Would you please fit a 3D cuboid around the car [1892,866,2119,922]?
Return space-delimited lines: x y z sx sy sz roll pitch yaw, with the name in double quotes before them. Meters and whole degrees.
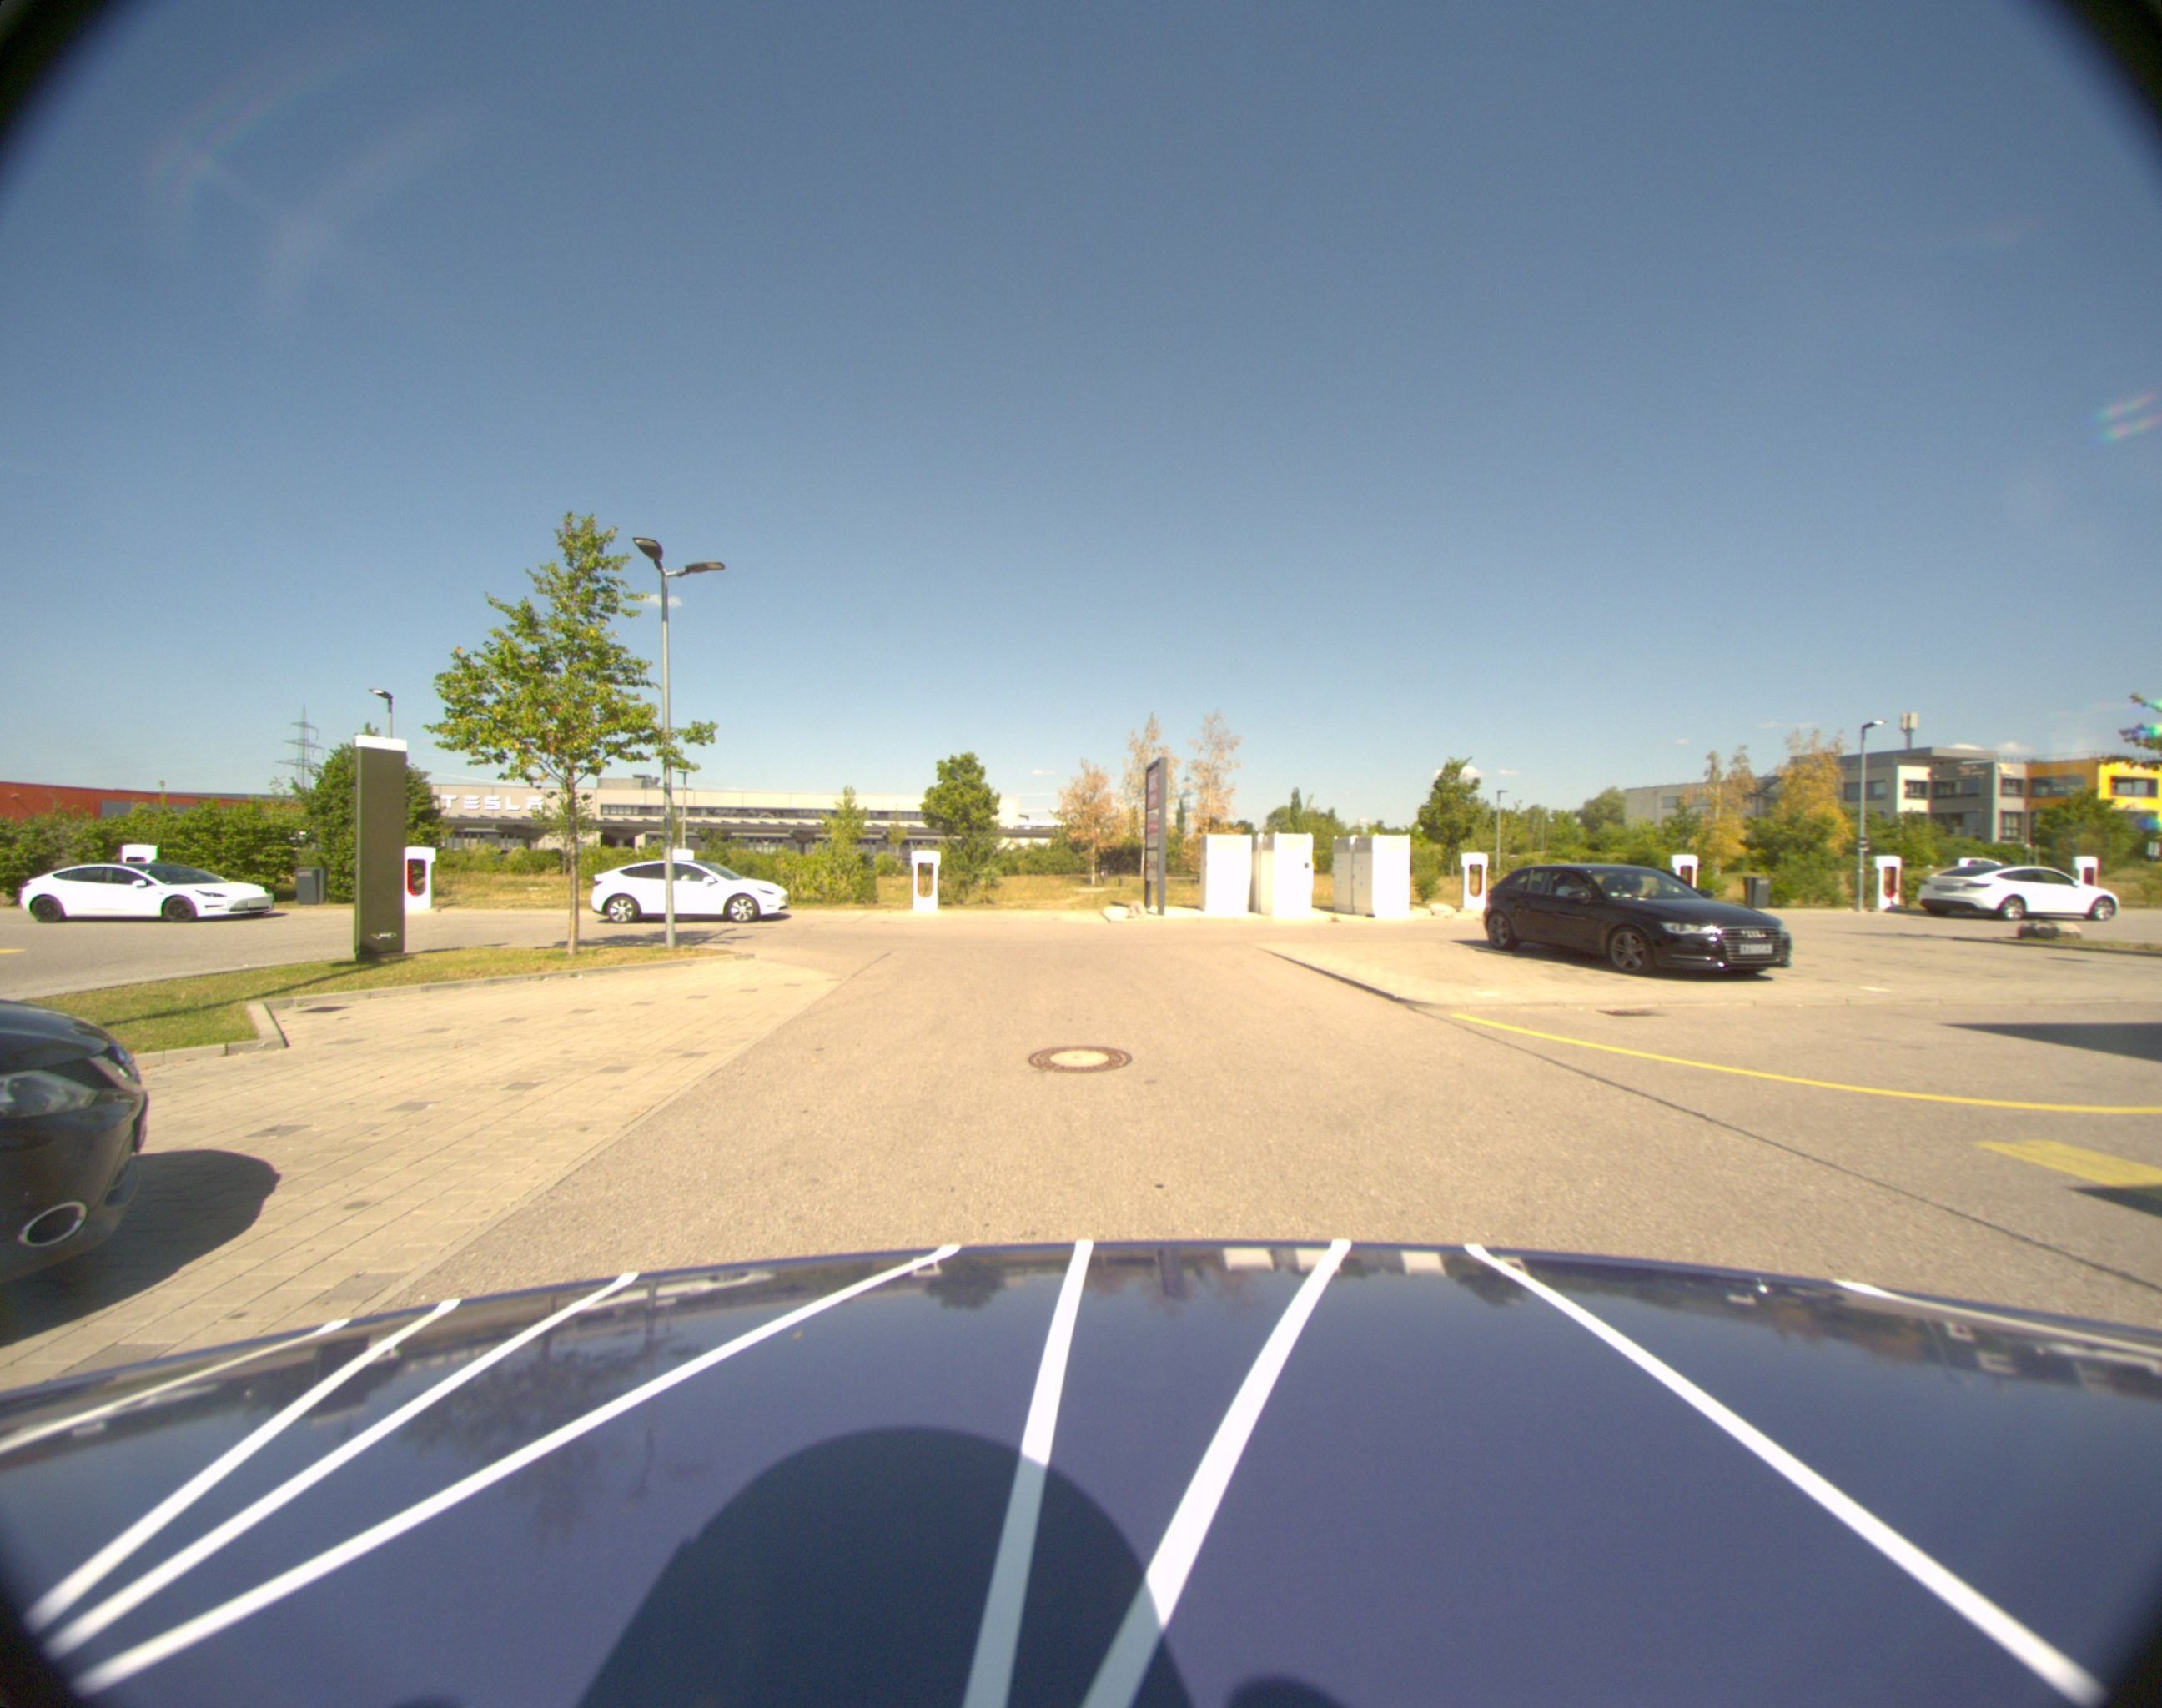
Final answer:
"car" 28.130 1.180 23.229 4.431 1.518 2.216 0 2 -4

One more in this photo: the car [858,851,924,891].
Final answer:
"car" -8.791 0.728 35.506 1.917 1.739 4.256 0 0 1

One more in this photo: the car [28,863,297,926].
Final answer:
"car" -22.952 0.985 19.142 4.331 1.470 1.842 0 0 -4

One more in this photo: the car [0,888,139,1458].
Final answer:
"car" -5.065 0.929 1.288 1.852 1.581 4.313 0 0 40

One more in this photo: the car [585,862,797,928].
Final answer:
"car" -10.044 1.030 19.917 4.576 1.583 1.841 0 0 -7

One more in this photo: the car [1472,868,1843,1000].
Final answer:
"car" 7.673 0.940 10.775 1.729 1.403 4.312 0 0 -5
